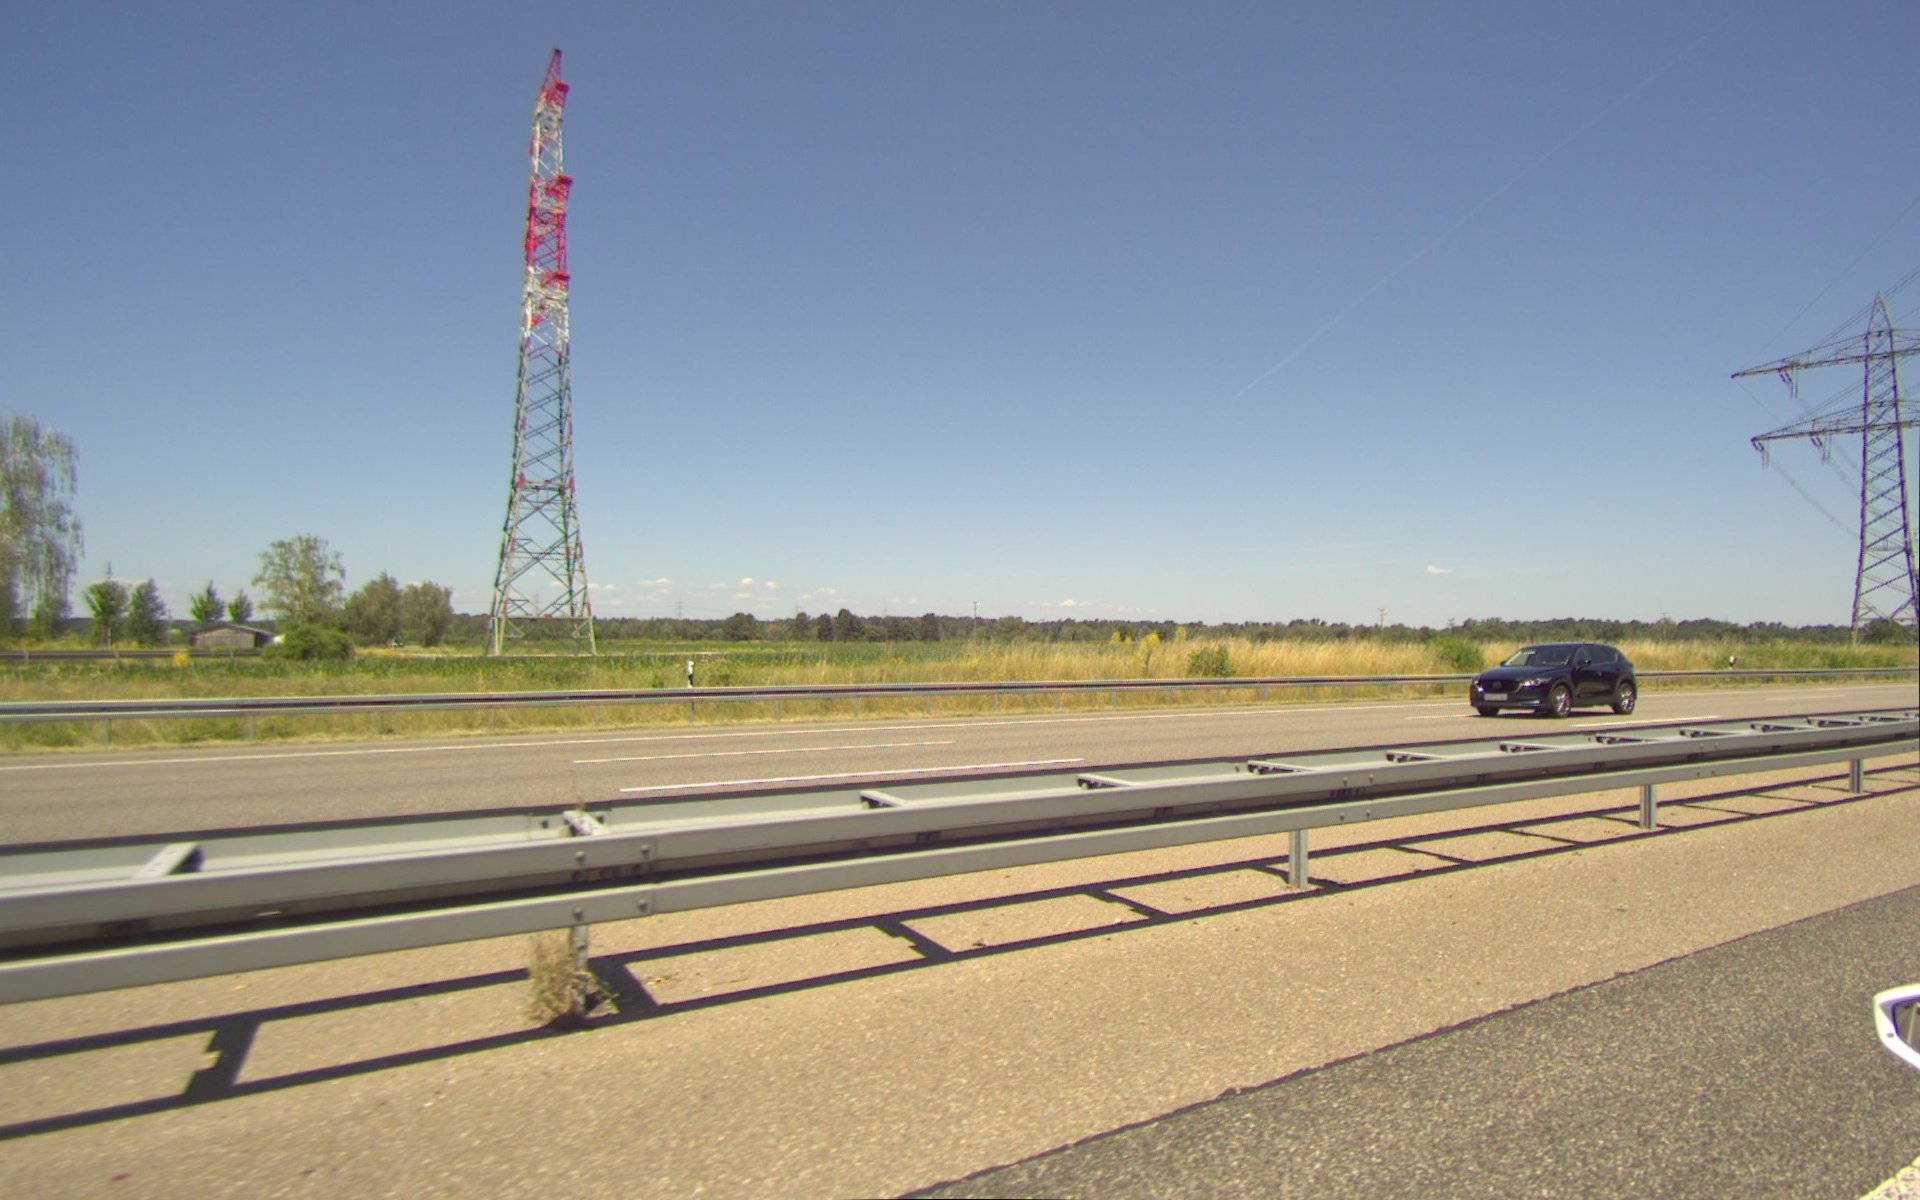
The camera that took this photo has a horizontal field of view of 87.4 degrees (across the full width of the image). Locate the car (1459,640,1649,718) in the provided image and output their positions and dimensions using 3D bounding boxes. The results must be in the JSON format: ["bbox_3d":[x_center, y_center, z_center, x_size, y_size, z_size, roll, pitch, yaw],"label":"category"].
[{"bbox_3d":[13.700,1.781,23.138,4.362,1.650,1.833,2,-5,-30],"label":"car"}]
